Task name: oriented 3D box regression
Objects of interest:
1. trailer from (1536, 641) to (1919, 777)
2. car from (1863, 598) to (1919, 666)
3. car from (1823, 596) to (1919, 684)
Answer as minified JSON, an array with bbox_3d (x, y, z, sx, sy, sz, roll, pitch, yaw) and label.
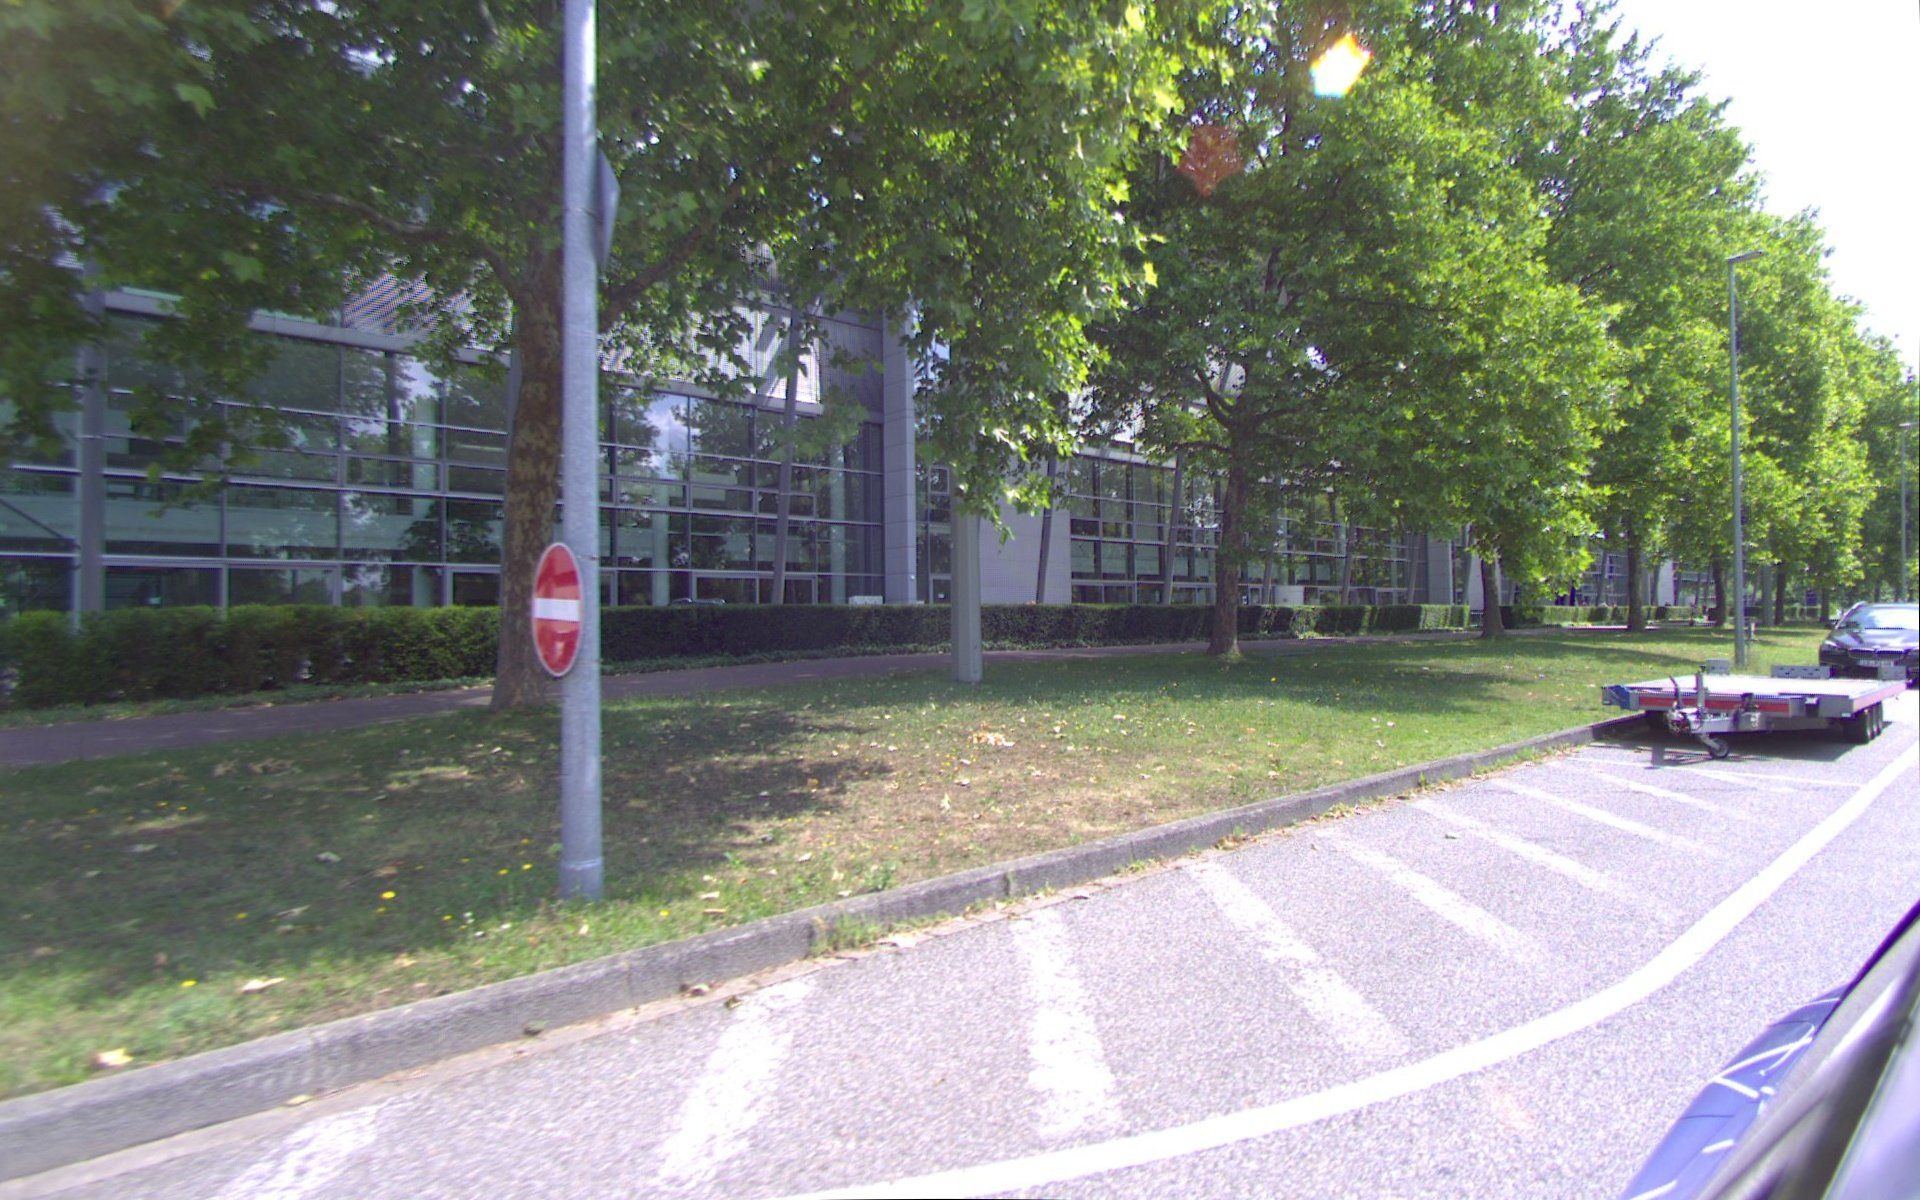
[{"bbox_3d":[9.060,1.030,11.475,6.701,0.838,2.301,-1,0,-41],"label":"trailer"},{"bbox_3d":[23.016,0.716,24.075,3.669,1.524,1.807,-1,-1,-41],"label":"car"},{"bbox_3d":[17.998,0.696,19.272,3.669,1.524,1.807,-1,-1,-41],"label":"car"}]
